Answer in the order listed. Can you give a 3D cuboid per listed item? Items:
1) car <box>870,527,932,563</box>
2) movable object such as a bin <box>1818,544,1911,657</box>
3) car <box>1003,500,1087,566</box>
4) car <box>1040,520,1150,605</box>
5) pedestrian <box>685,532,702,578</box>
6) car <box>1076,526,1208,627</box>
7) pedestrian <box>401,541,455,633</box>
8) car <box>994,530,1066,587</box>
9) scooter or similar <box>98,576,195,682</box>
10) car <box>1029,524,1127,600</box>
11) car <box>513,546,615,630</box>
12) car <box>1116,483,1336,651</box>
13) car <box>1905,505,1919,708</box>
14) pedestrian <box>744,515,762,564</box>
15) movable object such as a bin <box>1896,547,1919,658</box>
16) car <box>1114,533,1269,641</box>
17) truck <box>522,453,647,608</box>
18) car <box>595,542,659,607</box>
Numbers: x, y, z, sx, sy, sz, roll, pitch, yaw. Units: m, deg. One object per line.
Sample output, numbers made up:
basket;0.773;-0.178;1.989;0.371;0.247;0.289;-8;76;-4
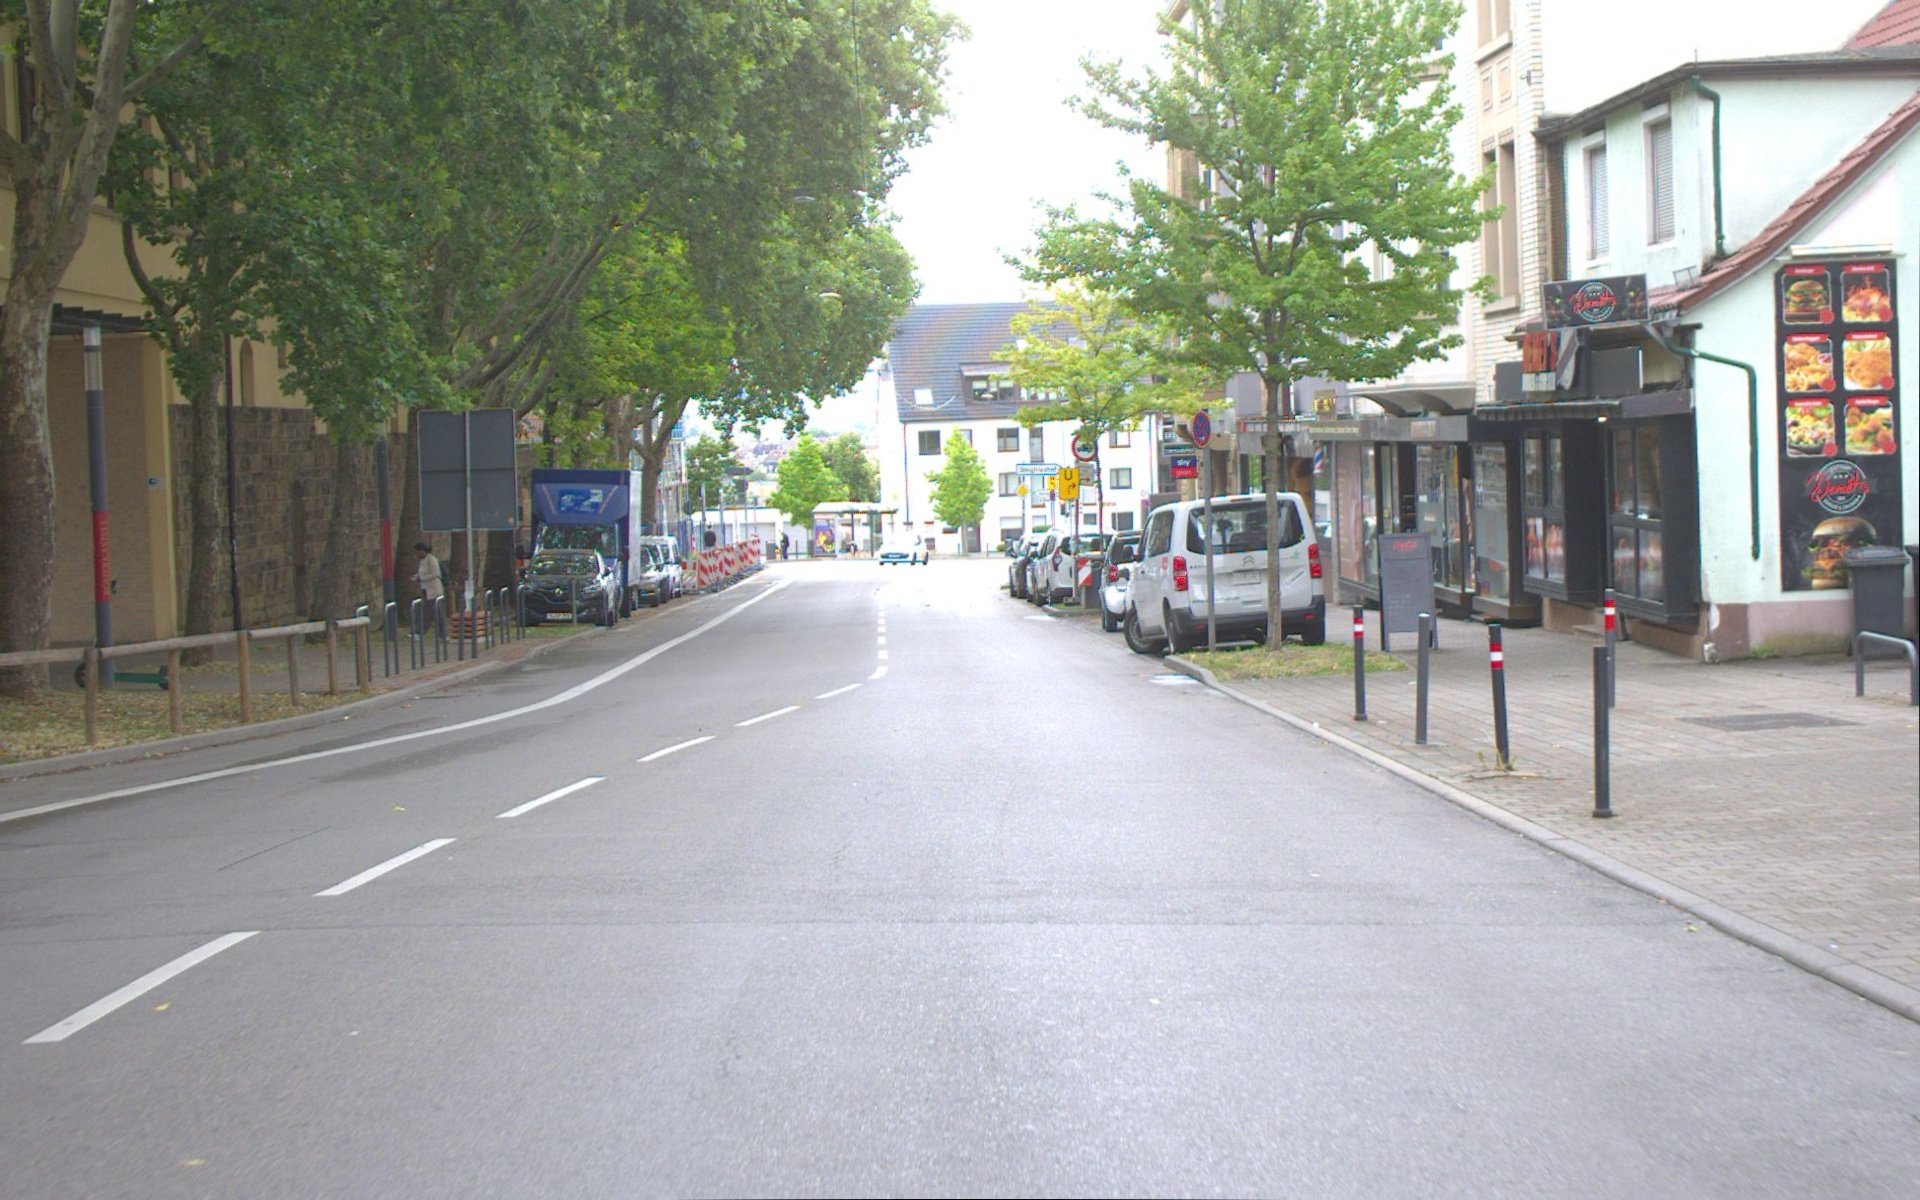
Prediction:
car;-2.614;-2.467;153.099;1.865;1.484;3.878;-1;1;12
movable object such as a bin;8.562;-0.003;32.567;0.698;1.038;0.645;-1;1;1
car;2.047;-1.631;83.592;1.668;1.542;3.757;-2;1;-4
car;2.569;-0.737;66.142;1.668;1.542;3.757;-2;1;-4
pedestrian;-11.509;-1.952;148.640;0.633;1.988;0.784;-1;1;0
car;2.935;-0.416;56.135;1.668;1.542;3.757;-2;1;-4
pedestrian;-8.975;-0.221;58.006;0.672;1.531;0.611;-2;1;-34
car;1.941;-1.178;96.547;1.668;1.542;3.757;-2;1;-4
scooter or similar;-9.399;0.329;39.739;1.028;1.180;0.491;-2;1;-10
car;2.468;-0.826;72.773;1.668;1.542;3.757;-2;1;-4
car;-7.969;-0.265;69.379;1.834;1.572;3.757;-2;1;-4
car;3.240;-0.441;42.881;1.993;1.929;4.920;-2;1;-4
car;9.455;-0.015;24.608;4.909;1.464;1.927;-1;1;26
pedestrian;-8.557;-2.500;141.987;0.633;2.007;0.784;-1;1;0
movable object such as a bin;9.313;0.014;32.582;0.698;1.038;0.645;-1;1;1
car;3.249;-0.215;48.865;1.668;1.427;3.757;-2;1;-4
truck;-8.531;-1.603;78.741;2.230;3.335;7.450;-2;1;-2
car;-8.759;-0.694;90.523;1.533;1.633;3.719;-2;1;-4
